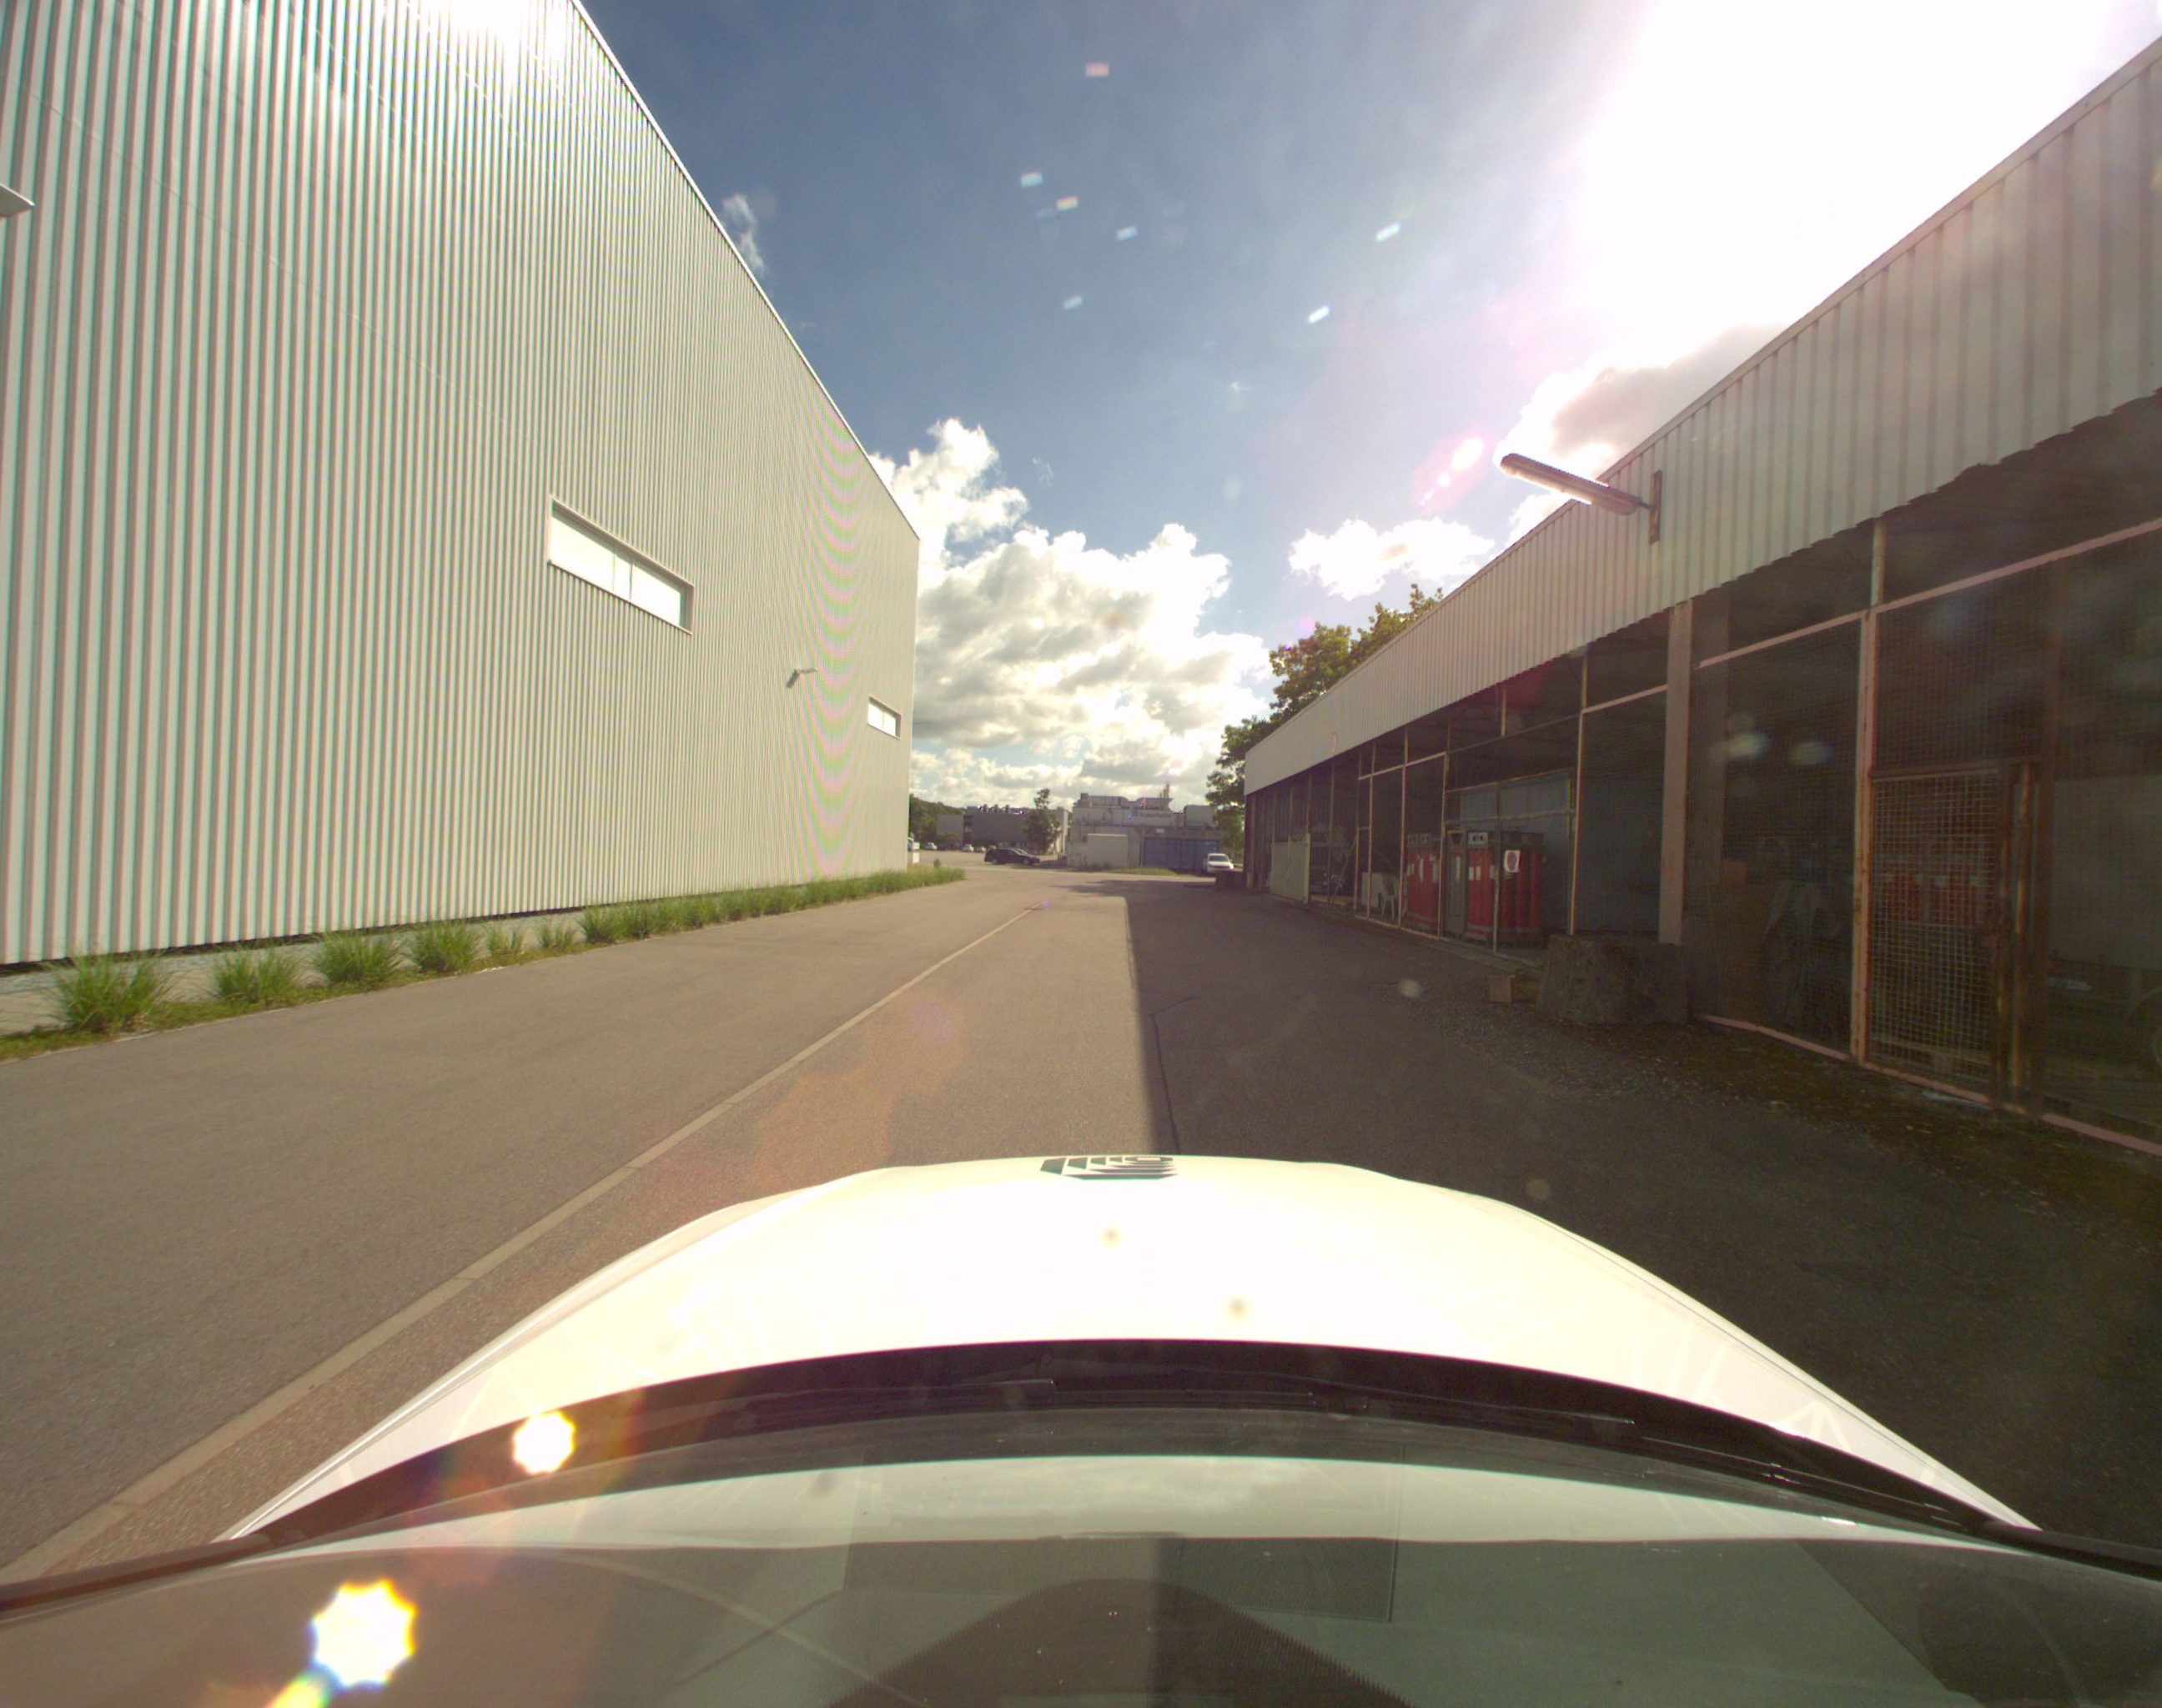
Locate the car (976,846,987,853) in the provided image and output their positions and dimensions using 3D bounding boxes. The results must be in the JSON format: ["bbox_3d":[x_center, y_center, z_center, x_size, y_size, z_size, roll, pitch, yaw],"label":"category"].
[{"bbox_3d":[-20.640,-0.959,169.436,1.871,1.537,4.035,0,0,0],"label":"car"}]

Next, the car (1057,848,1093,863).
[{"bbox_3d":[-0.694,0.207,99.707,4.262,1.569,1.988,2,-2,2],"label":"car"}]

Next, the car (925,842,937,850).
[{"bbox_3d":[-31.181,-1.620,169.779,1.842,1.668,4.130,0,0,-2],"label":"car"}]

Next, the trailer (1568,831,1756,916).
[{"bbox_3d":[15.738,0.493,22.276,3.389,2.138,2.467,1,0,4],"label":"trailer"}]

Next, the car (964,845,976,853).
[{"bbox_3d":[-23.190,-1.045,169.664,1.871,1.689,4.035,0,0,0],"label":"car"}]

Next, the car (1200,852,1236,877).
[{"bbox_3d":[9.857,0.740,59.004,1.973,1.593,4.343,2,1,2],"label":"car"}]

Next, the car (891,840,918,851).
[{"bbox_3d":[-31.080,-1.483,143.290,4.089,1.630,1.811,3,0,6],"label":"car"}]

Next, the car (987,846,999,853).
[{"bbox_3d":[-18.312,-0.948,169.588,1.871,1.537,4.035,0,0,0],"label":"car"}]

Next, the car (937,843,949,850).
[{"bbox_3d":[-28.743,-1.544,169.587,1.873,1.537,4.032,0,0,-2],"label":"car"}]

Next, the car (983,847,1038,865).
[{"bbox_3d":[-6.202,0.187,72.098,4.511,1.443,1.988,2,-2,2],"label":"car"}]

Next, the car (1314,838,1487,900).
[{"bbox_3d":[11.070,0.514,28.471,5.153,1.918,2.276,2,0,-3],"label":"car"}]

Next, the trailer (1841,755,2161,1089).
[{"bbox_3d":[7.730,0.440,5.688,1.572,2.143,3.521,0,0,0],"label":"trailer"}]

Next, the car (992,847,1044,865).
[{"bbox_3d":[-5.822,0.184,75.348,4.511,1.443,1.905,2,-2,2],"label":"car"}]
